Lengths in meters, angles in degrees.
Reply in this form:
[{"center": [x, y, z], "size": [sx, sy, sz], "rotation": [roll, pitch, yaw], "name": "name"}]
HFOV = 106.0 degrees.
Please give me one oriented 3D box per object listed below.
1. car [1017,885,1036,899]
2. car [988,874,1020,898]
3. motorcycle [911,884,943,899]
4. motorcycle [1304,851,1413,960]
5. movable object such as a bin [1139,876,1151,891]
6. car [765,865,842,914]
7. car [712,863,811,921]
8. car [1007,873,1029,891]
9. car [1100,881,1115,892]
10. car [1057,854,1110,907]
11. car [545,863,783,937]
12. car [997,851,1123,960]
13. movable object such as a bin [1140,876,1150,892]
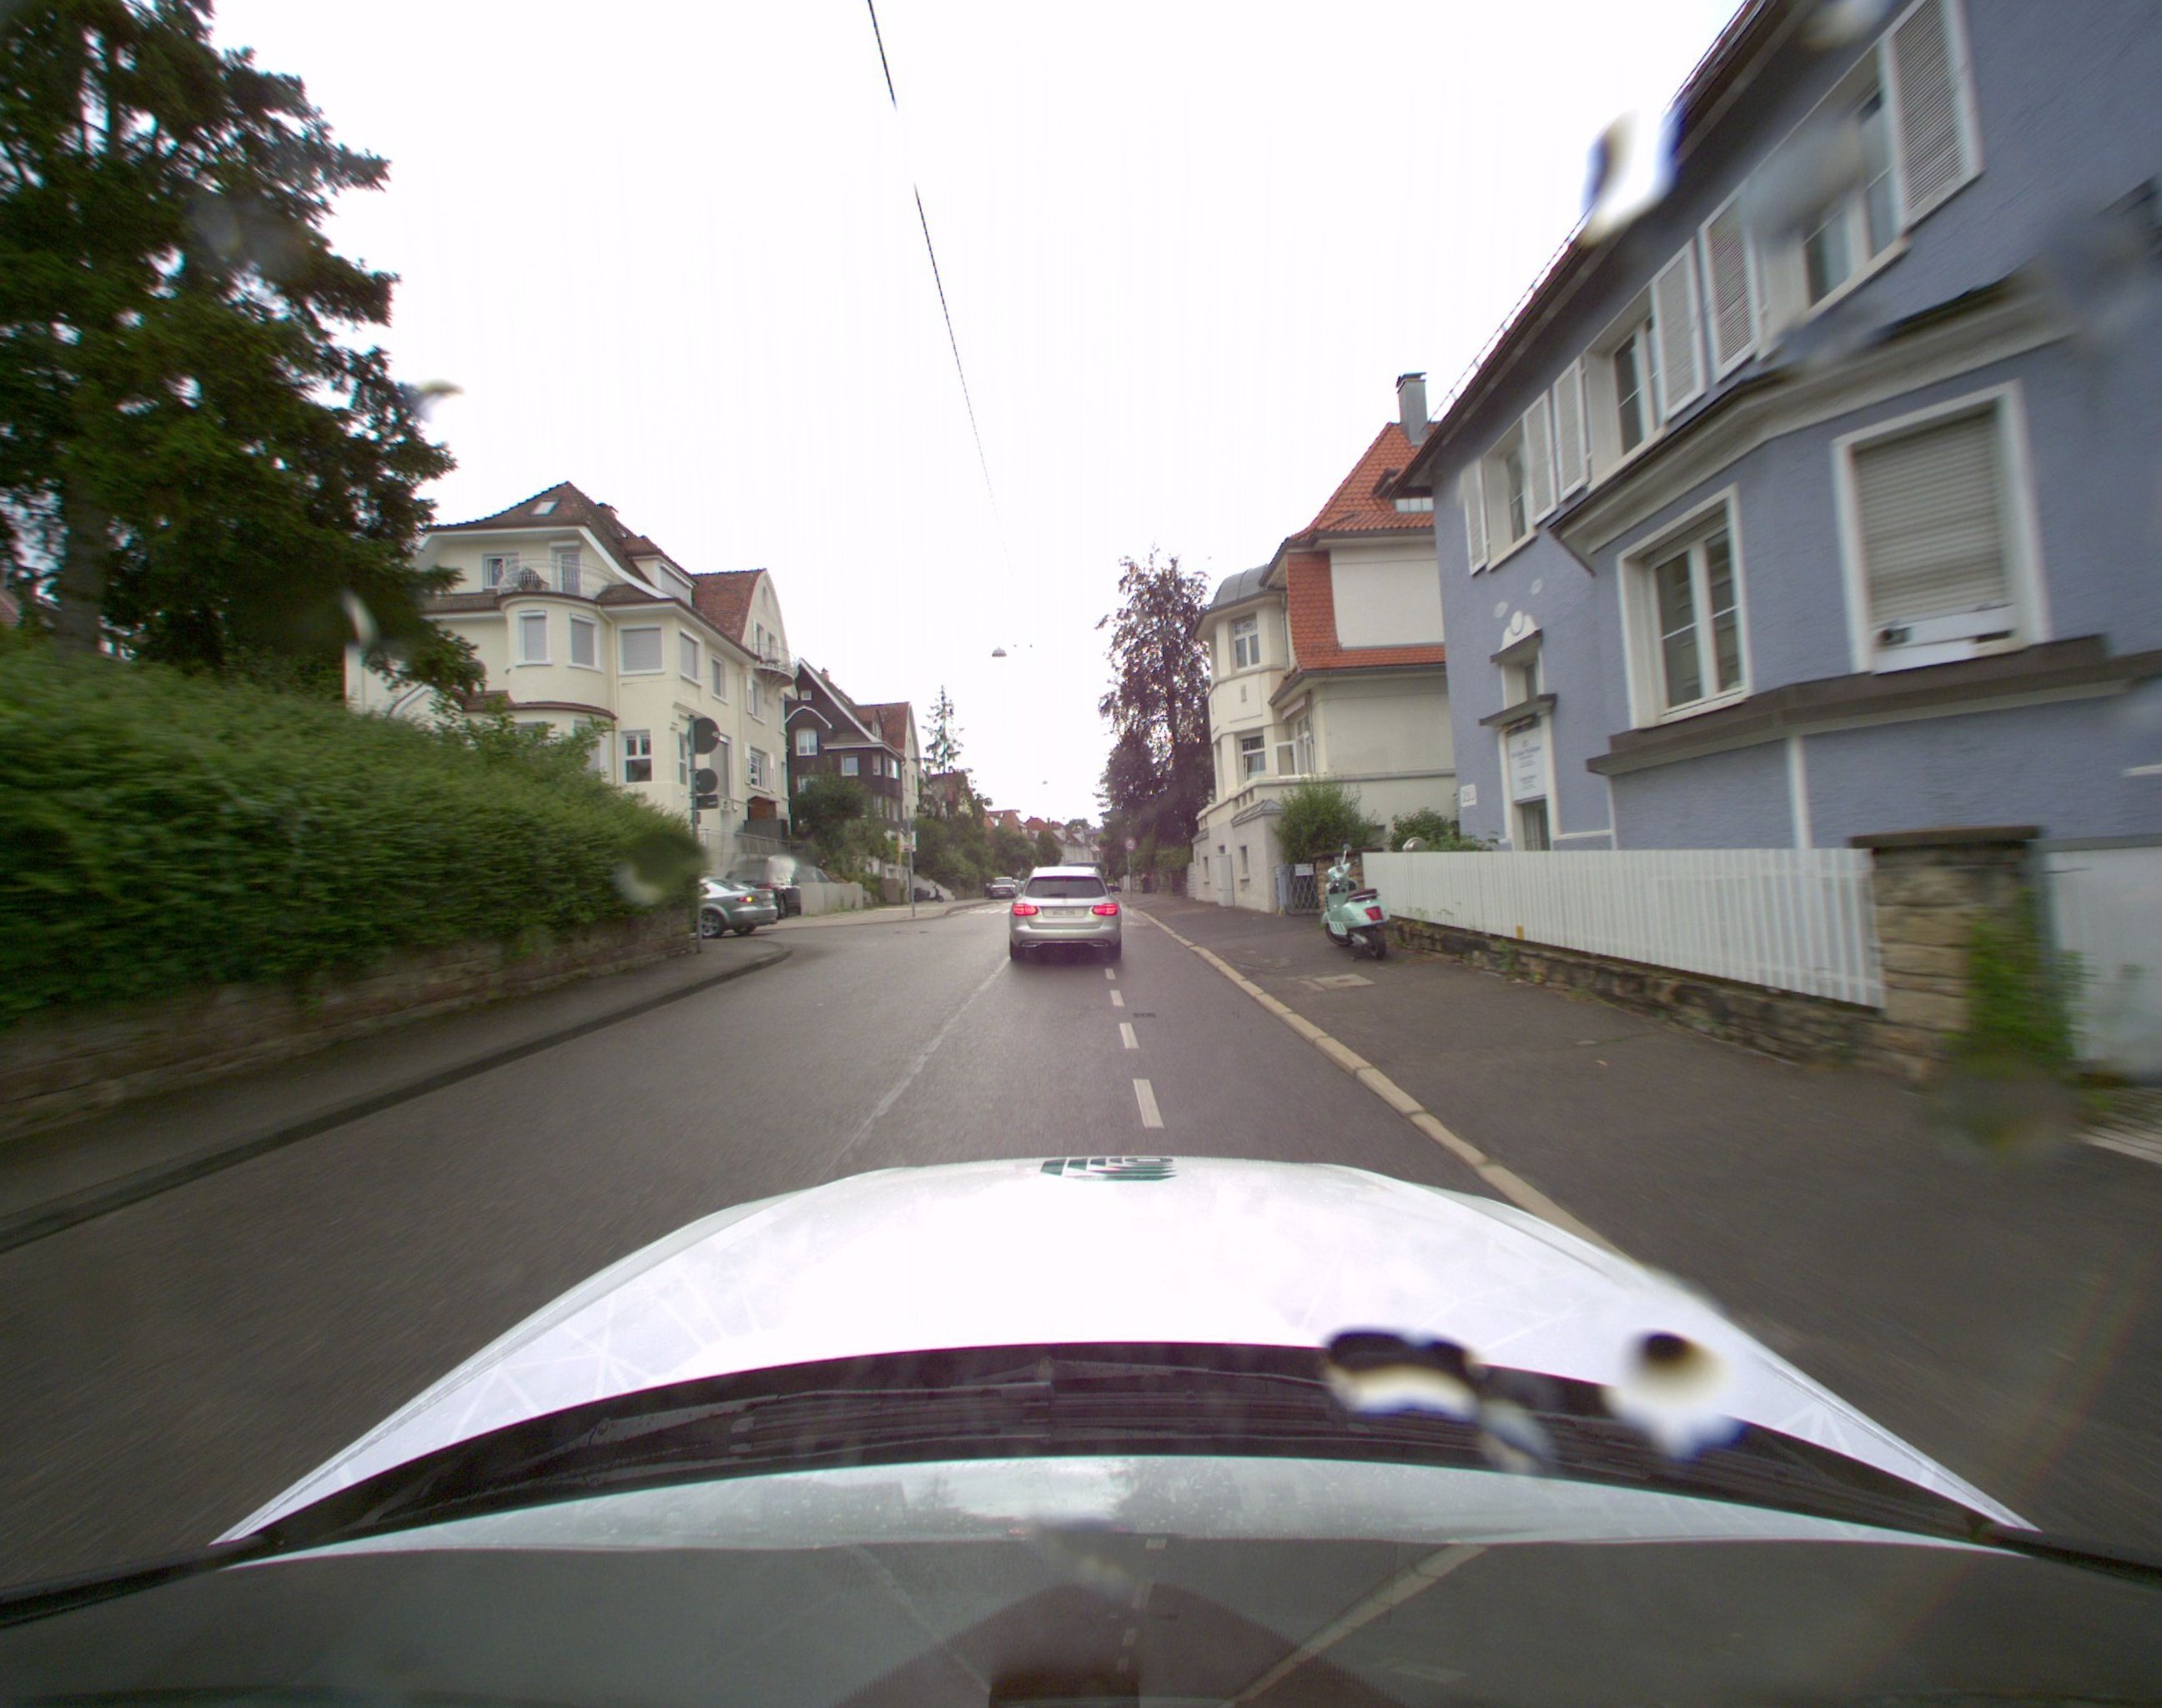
[{"center": [-5.741, 4.041, 86.365], "size": [1.689, 1.447, 3.812], "rotation": [-2, -3, 0], "name": "car"}, {"center": [-5.617, 2.342, 59.843], "size": [1.888, 1.623, 4.376], "rotation": [-2, -2, -1], "name": "car"}, {"center": [-9.040, 2.203, 47.795], "size": [1.789, 0.903, 0.603], "rotation": [0, -3, -1], "name": "motorcycle"}, {"center": [3.636, 0.632, 10.893], "size": [0.690, 1.226, 2.155], "rotation": [-9, -1, 4], "name": "motorcycle"}, {"center": [3.818, 1.761, 48.392], "size": [0.649, 0.856, 0.503], "rotation": [-2, -1, -3], "name": "movable object such as a bin"}, {"center": [-10.416, 1.282, 30.890], "size": [1.762, 1.696, 3.993], "rotation": [-2, -1, -4], "name": "car"}, {"center": [-9.979, 1.125, 25.756], "size": [1.762, 1.618, 3.993], "rotation": [-2, -1, -4], "name": "car"}, {"center": [-5.718, 2.561, 74.380], "size": [1.751, 1.447, 4.414], "rotation": [-2, -1, -1], "name": "car"}, {"center": [5.328, 6.477, 162.514], "size": [1.815, 2.056, 5.031], "rotation": [-2, -3, 17], "name": "car"}, {"center": [0.151, 1.079, 32.298], "size": [1.835, 1.904, 4.002], "rotation": [-2, -3, 3], "name": "car"}, {"center": [-9.238, 1.009, 18.379], "size": [4.363, 1.556, 1.817], "rotation": [1, -1, -9], "name": "car"}, {"center": [-0.300, 0.785, 13.976], "size": [1.810, 1.556, 3.999], "rotation": [-1, -1, 0], "name": "car"}, {"center": [3.833, 1.792, 48.995], "size": [0.493, 0.956, 0.503], "rotation": [-2, -1, -3], "name": "movable object such as a bin"}]
